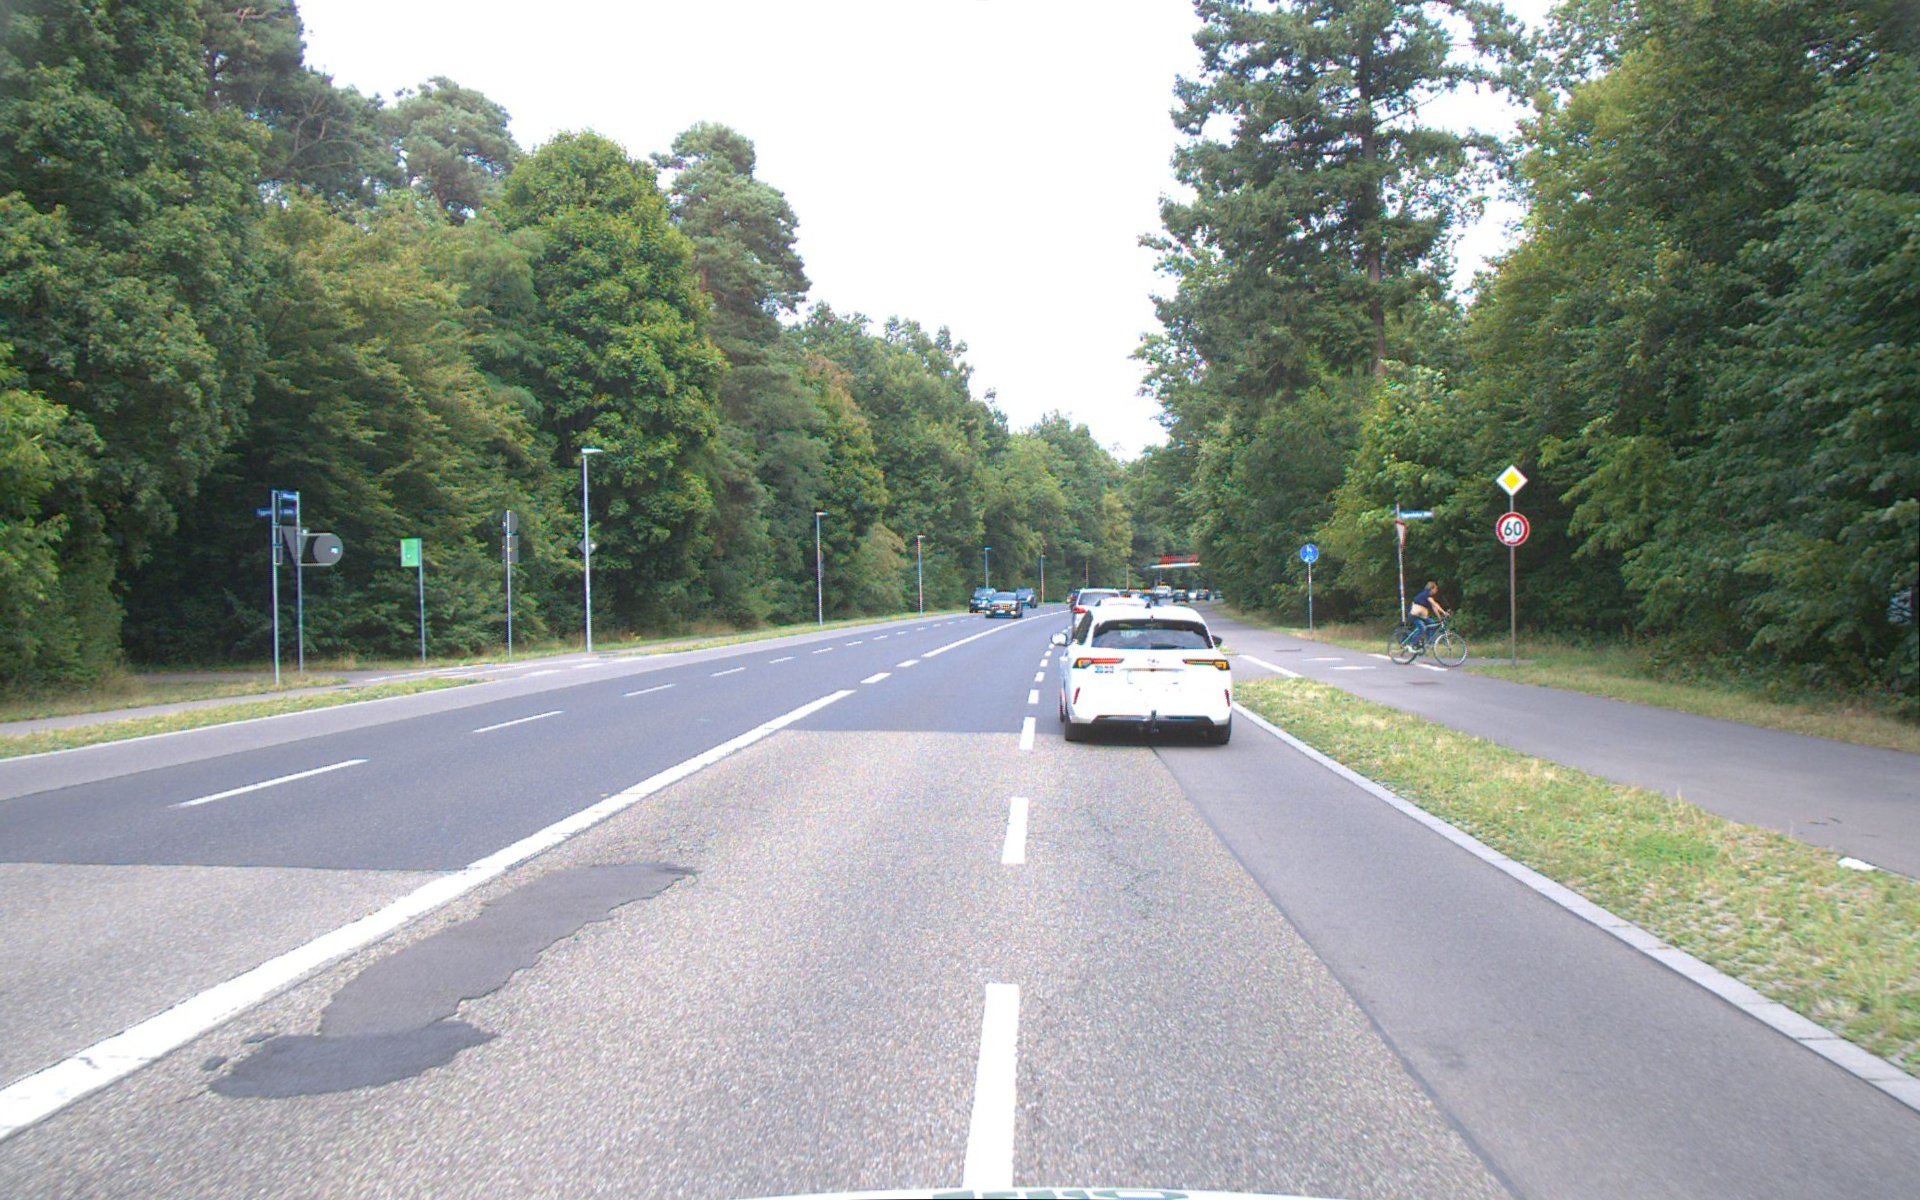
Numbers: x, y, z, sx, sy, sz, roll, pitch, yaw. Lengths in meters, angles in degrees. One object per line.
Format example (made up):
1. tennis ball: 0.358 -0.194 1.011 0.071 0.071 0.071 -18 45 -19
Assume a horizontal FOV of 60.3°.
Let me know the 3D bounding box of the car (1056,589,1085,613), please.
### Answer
1. car: 7.846 0.089 116.894 1.693 1.615 4.003 2 -1 8

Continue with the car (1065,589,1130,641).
1. car: 4.623 0.507 55.260 1.951 1.635 4.003 2 -1 7

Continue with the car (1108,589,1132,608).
1. car: 15.757 -0.133 162.693 1.951 1.814 4.003 2 -1 10

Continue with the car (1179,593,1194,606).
1. car: 33.969 -0.041 248.364 1.848 1.847 4.003 2 -1 13

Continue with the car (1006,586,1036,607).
1. car: 5.180 -0.305 140.161 1.951 1.645 4.667 2 -1 9

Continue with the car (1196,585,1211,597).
1. car: 34.283 -1.243 232.834 1.951 1.735 4.004 0 0 12

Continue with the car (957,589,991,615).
1. car: 0.974 0.152 112.317 1.882 1.684 4.472 1 -1 5

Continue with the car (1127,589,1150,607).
1. car: 19.411 -0.164 179.864 1.951 1.814 4.003 2 -1 13

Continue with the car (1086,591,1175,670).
1. car: 3.401 0.597 33.485 1.601 1.445 4.002 2 -1 4

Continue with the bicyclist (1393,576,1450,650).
1. bicyclist: 9.401 0.257 33.704 0.702 1.496 0.891 0 0 -32

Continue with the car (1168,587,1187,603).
1. car: 26.647 -0.656 202.799 1.951 1.814 4.003 2 -1 12

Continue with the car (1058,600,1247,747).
1. car: 2.026 0.726 18.502 1.798 1.435 4.492 0 0 3

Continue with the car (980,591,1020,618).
1. car: 2.292 0.278 93.446 1.951 1.460 4.724 1 -1 5

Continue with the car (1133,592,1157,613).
1. car: 17.281 0.224 154.485 1.951 1.814 4.003 2 -1 9

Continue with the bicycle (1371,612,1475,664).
1. bicycle: 9.409 0.762 33.714 0.702 1.011 2.158 0 0 -31
